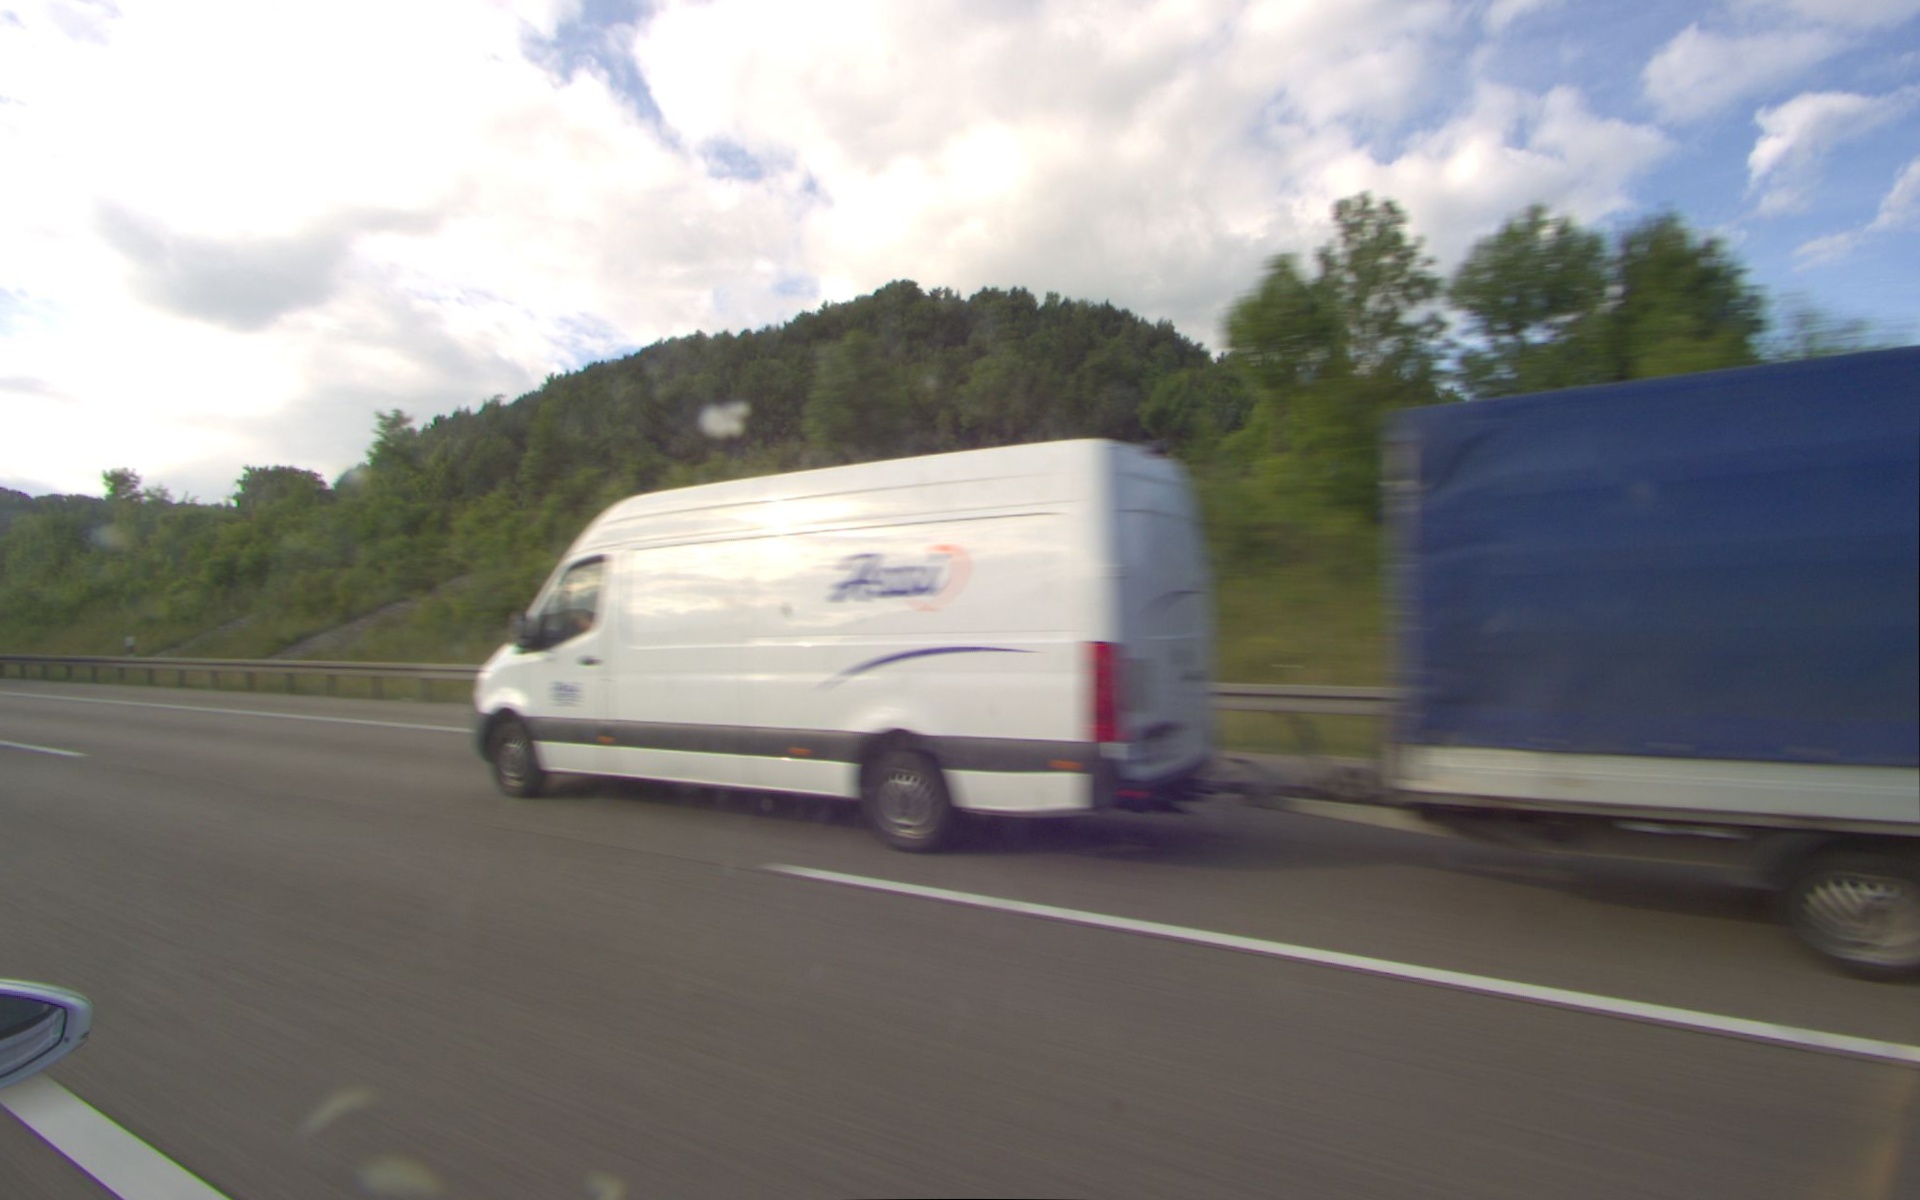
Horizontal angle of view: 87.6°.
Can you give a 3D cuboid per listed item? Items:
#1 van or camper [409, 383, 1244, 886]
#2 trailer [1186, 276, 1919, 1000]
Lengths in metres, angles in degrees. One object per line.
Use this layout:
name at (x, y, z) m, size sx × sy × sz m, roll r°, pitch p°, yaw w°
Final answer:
van or camper at (-1.617, 0.282, 8.352) m, size 7.417 × 2.752 × 1.989 m, roll -1°, pitch -1°, yaw 33°
trailer at (3.922, 0.169, 4.832) m, size 5.174 × 2.761 × 1.990 m, roll -1°, pitch -1°, yaw 32°
